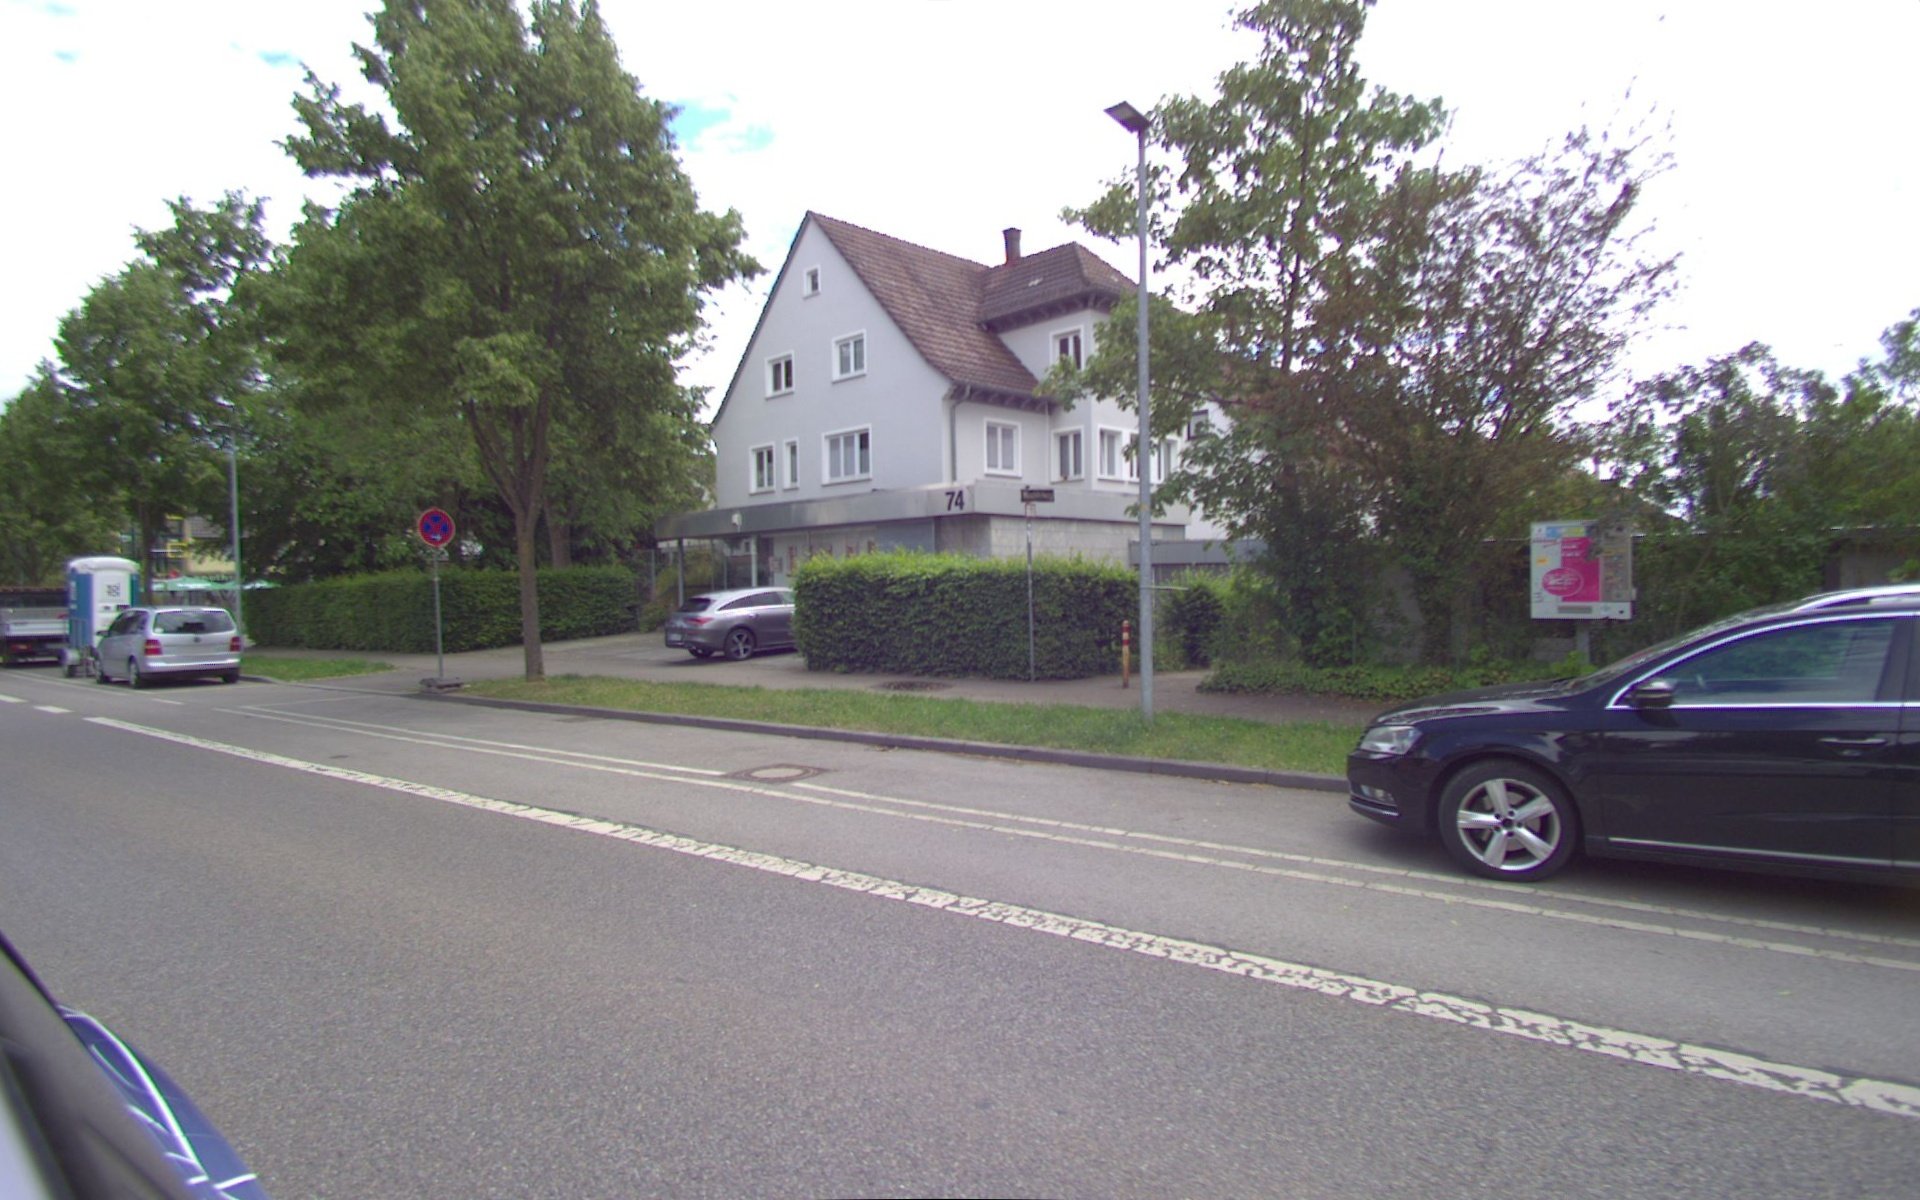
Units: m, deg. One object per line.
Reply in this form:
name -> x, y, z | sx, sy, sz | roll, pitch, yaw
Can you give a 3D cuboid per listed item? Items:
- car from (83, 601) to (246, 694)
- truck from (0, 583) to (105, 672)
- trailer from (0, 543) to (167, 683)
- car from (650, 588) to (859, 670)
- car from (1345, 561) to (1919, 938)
car -> -16.481, 0.894, 20.901 | 4.219, 1.696, 1.673 | 0, 1, 38
truck -> -26.783, 0.751, 29.267 | 6.461, 2.304, 2.271 | -1, 0, 42
trailer -> -21.721, 0.304, 24.851 | 7.008, 2.985, 2.347 | -1, 0, 42
car -> -4.307, 0.560, 21.608 | 1.801, 1.443, 4.033 | -1, 1, 45
car -> 4.514, 0.603, 4.939 | 4.612, 1.564, 1.843 | 1, 2, 37
